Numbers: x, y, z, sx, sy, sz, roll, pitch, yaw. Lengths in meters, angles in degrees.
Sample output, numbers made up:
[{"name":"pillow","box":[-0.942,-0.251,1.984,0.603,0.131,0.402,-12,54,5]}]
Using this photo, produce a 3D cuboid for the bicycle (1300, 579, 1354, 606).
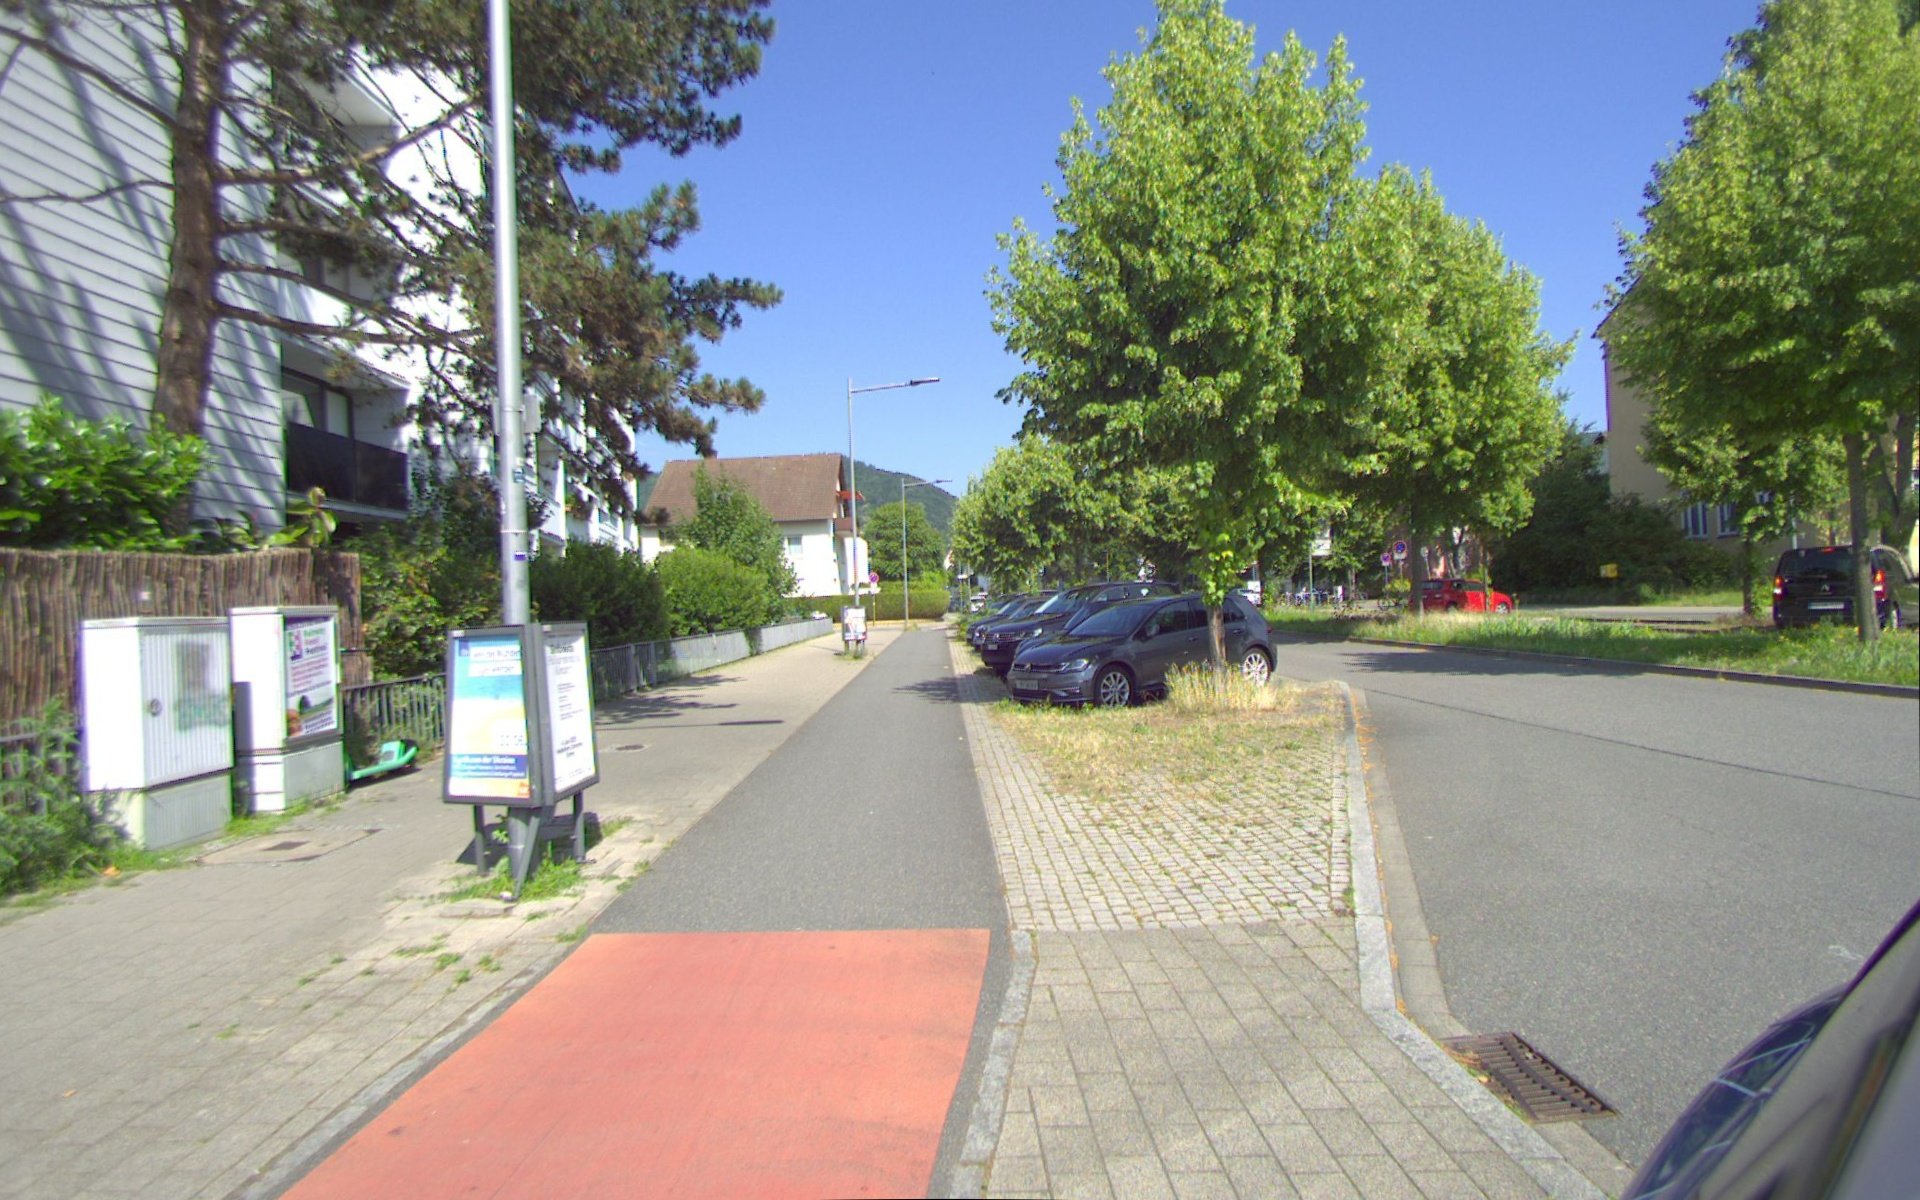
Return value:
[{"name":"bicycle","box":[19.153,-0.393,52.795,2.503,1.272,0.740,-3,-1,-3]}]

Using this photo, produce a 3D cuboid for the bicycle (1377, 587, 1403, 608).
[{"name":"bicycle","box":[19.481,-0.123,45.863,0.512,0.914,1.272,-2,0,-6]}]

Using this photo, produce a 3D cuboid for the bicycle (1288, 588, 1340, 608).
[{"name":"bicycle","box":[19.222,-0.108,54.962,2.503,1.000,0.740,-2,-1,-3]}]

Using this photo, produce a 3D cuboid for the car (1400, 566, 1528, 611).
[{"name":"car","box":[18.271,-0.413,36.700,3.916,1.485,2.003,-1,-1,-21]}]

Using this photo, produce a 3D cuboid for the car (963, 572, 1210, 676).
[{"name":"car","box":[2.524,0.413,19.763,4.653,1.681,1.754,-3,0,-31]}]

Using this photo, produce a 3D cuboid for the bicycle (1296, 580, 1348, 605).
[{"name":"bicycle","box":[19.215,-0.405,53.779,2.474,1.272,0.740,-2,-1,-3]}]

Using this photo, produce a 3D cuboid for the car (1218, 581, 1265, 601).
[{"name":"car","box":[20.150,-0.642,72.504,1.690,1.283,4.005,-2,-1,-9]}]

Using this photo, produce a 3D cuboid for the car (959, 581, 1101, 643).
[{"name":"car","box":[2.144,0.345,31.201,3.917,1.660,1.804,-3,0,-20]}]

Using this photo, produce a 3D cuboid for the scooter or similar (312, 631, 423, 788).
[{"name":"scooter or similar","box":[-4.877,0.872,8.378,0.227,1.181,0.956,-3,0,6]}]

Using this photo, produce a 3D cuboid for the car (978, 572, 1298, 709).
[{"name":"car","box":[2.539,0.505,14.398,4.035,1.549,2.002,-3,0,-27]}]

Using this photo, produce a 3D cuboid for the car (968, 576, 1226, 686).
[{"name":"car","box":[2.300,0.463,16.792,3.921,1.492,1.770,-3,0,-30]}]

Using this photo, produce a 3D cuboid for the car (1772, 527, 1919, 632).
[{"name":"car","box":[17.910,-0.400,19.998,4.113,1.839,2.002,-2,-1,-39]}]

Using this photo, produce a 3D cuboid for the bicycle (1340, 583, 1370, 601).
[{"name":"bicycle","box":[25.584,-0.527,65.538,1.708,1.095,0.372,-3,-1,40]}]

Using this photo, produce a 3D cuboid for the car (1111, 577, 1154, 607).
[{"name":"car","box":[16.023,-0.718,94.223,2.053,2.528,5.960,-2,-1,-9]}]

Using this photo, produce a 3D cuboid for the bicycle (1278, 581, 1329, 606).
[{"name":"bicycle","box":[19.109,-0.361,56.327,2.503,1.255,0.740,-2,-1,-3]}]

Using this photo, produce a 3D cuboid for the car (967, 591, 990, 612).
[{"name":"car","box":[1.752,0.106,97.233,1.733,1.849,4.602,-5,1,-4]}]

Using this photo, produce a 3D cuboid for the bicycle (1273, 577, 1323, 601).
[{"name":"bicycle","box":[19.138,-0.646,57.312,2.503,1.272,0.740,-2,-1,-3]}]
